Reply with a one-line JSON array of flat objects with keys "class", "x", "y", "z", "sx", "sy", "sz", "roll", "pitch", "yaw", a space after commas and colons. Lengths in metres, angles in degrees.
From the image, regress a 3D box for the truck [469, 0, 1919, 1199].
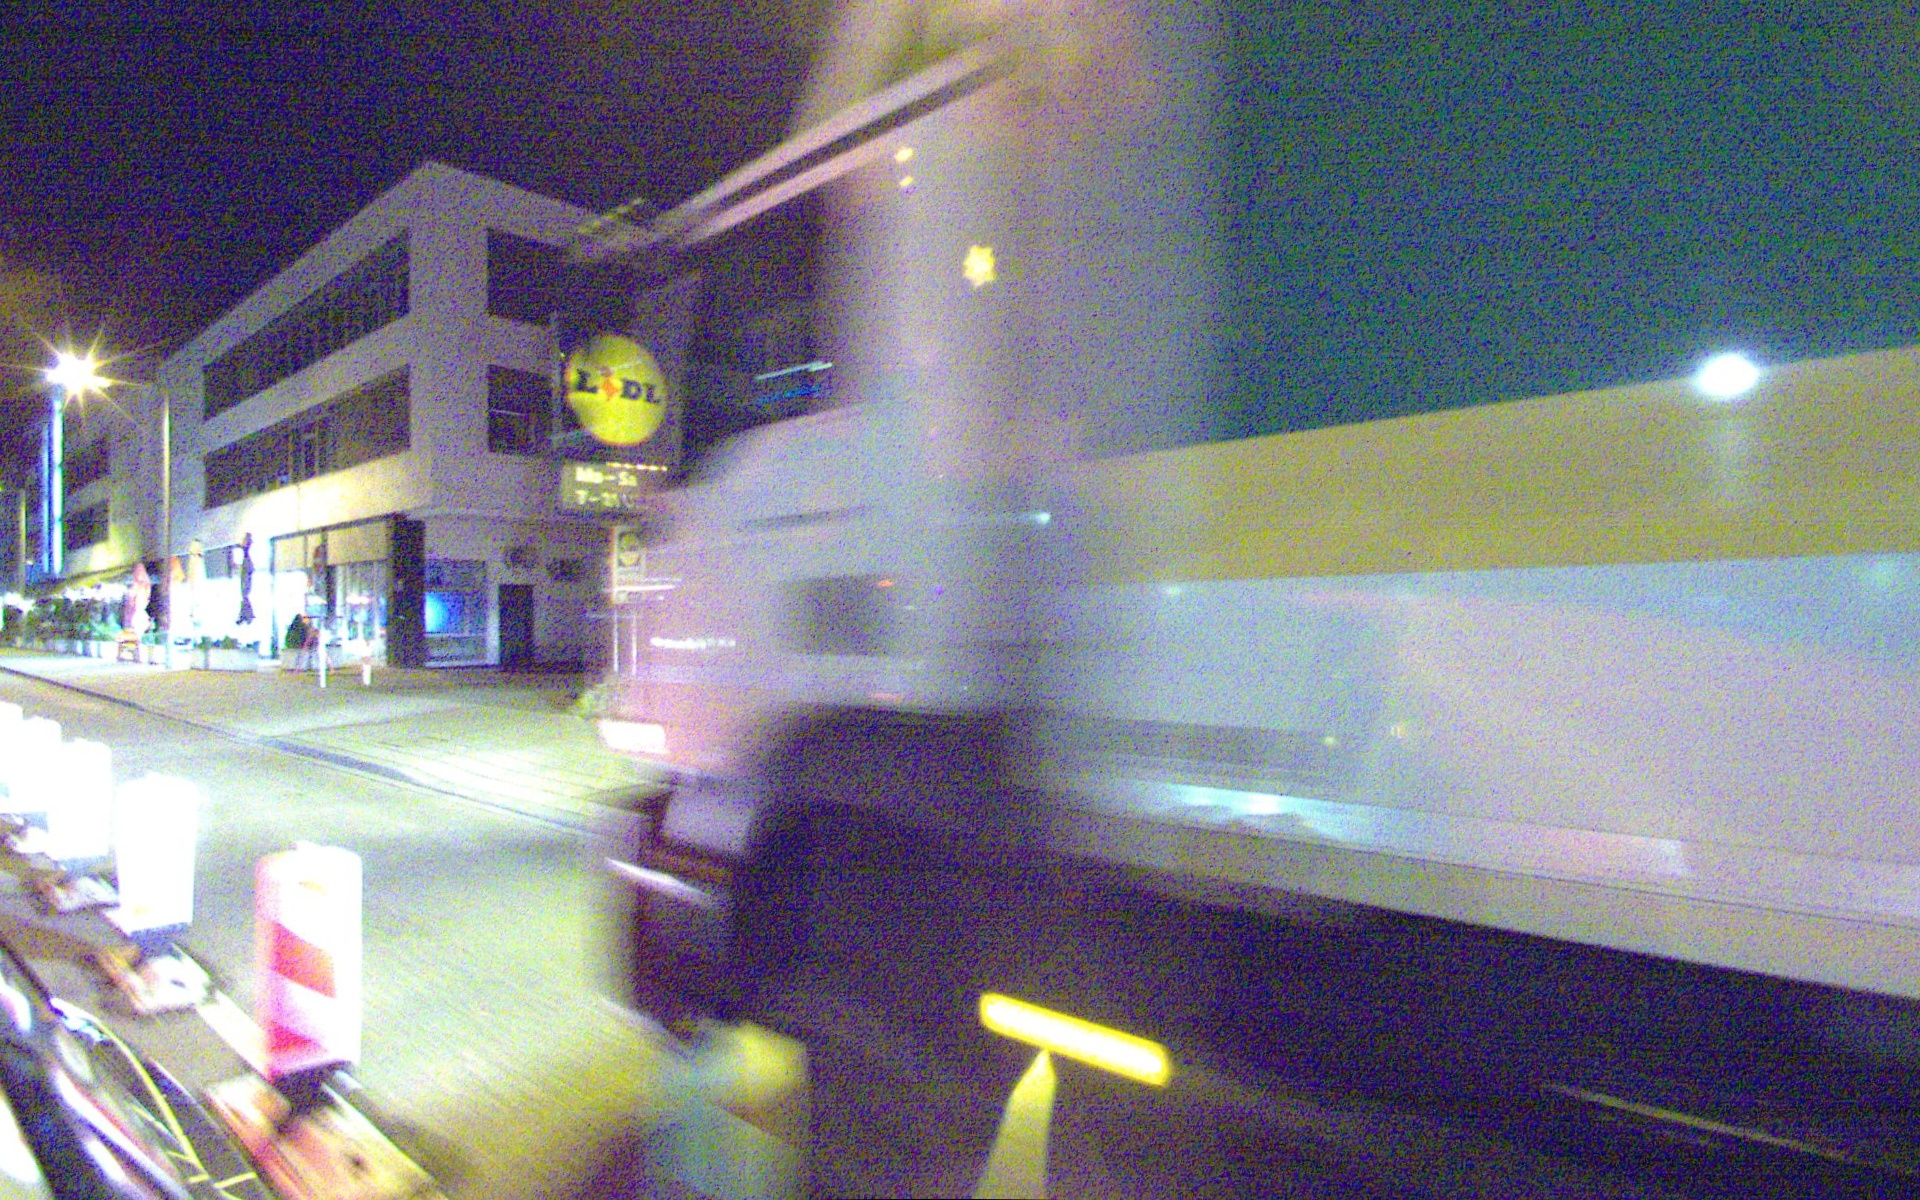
[{"class": "truck", "x": 3.266, "y": -0.565, "z": 0.634, "sx": 10.109, "sy": 3.746, "sz": 2.726, "roll": -2, "pitch": -3, "yaw": 42}]
